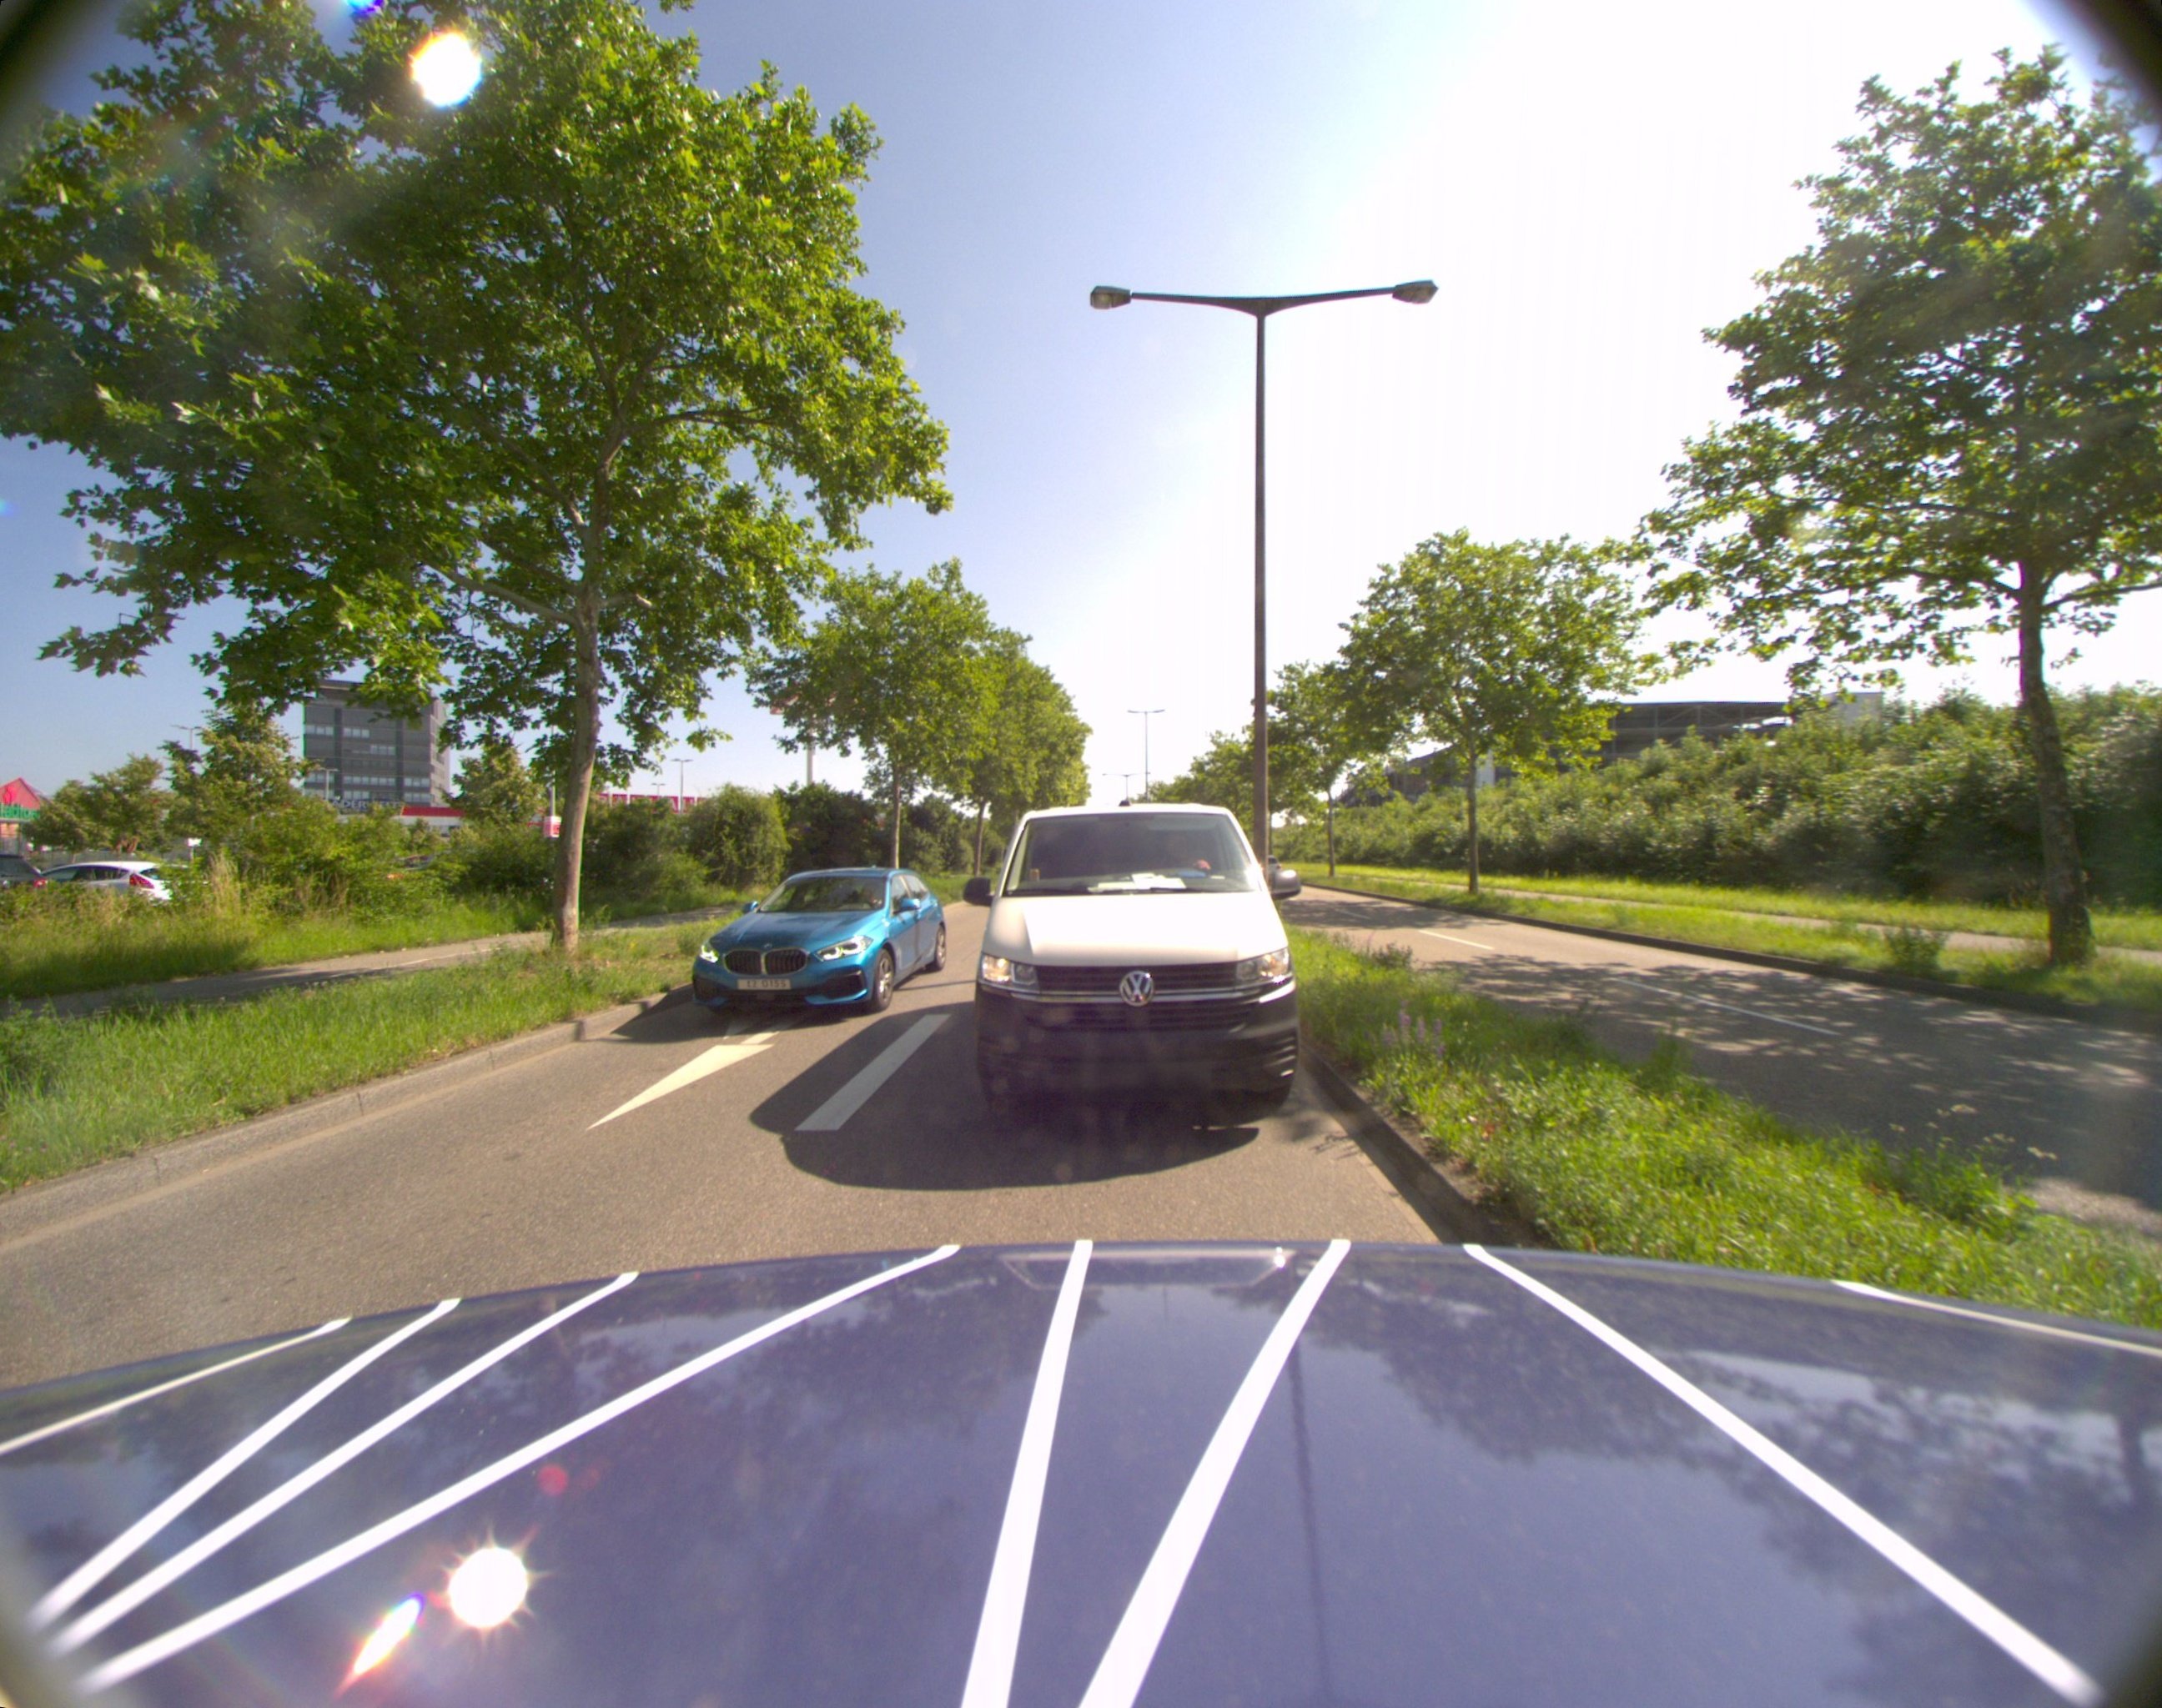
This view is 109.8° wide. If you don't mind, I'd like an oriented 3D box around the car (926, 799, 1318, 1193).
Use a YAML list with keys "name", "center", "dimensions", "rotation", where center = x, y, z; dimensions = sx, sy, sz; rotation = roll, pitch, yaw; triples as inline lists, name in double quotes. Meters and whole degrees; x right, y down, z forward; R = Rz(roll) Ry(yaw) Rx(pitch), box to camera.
- name: "car"
  center: [0.229, 0.671, 6.094]
  dimensions: [1.872, 1.889, 4.881]
  rotation: [0, 0, 1]

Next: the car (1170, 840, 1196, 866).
- name: "car"
  center: [10.532, -0.128, 78.940]
  dimensions: [1.998, 2.647, 5.786]
  rotation: [1, 1, 1]

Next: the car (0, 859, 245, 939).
- name: "car"
  center: [-22.139, 0.987, 17.239]
  dimensions: [4.083, 1.582, 1.880]
  rotation: [-2, 1, -2]

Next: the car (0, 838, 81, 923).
- name: "car"
  center: [-22.162, 0.569, 14.245]
  dimensions: [4.083, 1.582, 1.880]
  rotation: [-2, 1, -2]

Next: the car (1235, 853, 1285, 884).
- name: "car"
  center: [9.223, 0.731, 39.423]
  dimensions: [1.704, 1.499, 4.000]
  rotation: [0, 0, 1]

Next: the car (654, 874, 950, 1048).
- name: "car"
  center: [-2.846, 1.014, 8.851]
  dimensions: [1.872, 1.412, 4.130]
  rotation: [0, 0, 1]
